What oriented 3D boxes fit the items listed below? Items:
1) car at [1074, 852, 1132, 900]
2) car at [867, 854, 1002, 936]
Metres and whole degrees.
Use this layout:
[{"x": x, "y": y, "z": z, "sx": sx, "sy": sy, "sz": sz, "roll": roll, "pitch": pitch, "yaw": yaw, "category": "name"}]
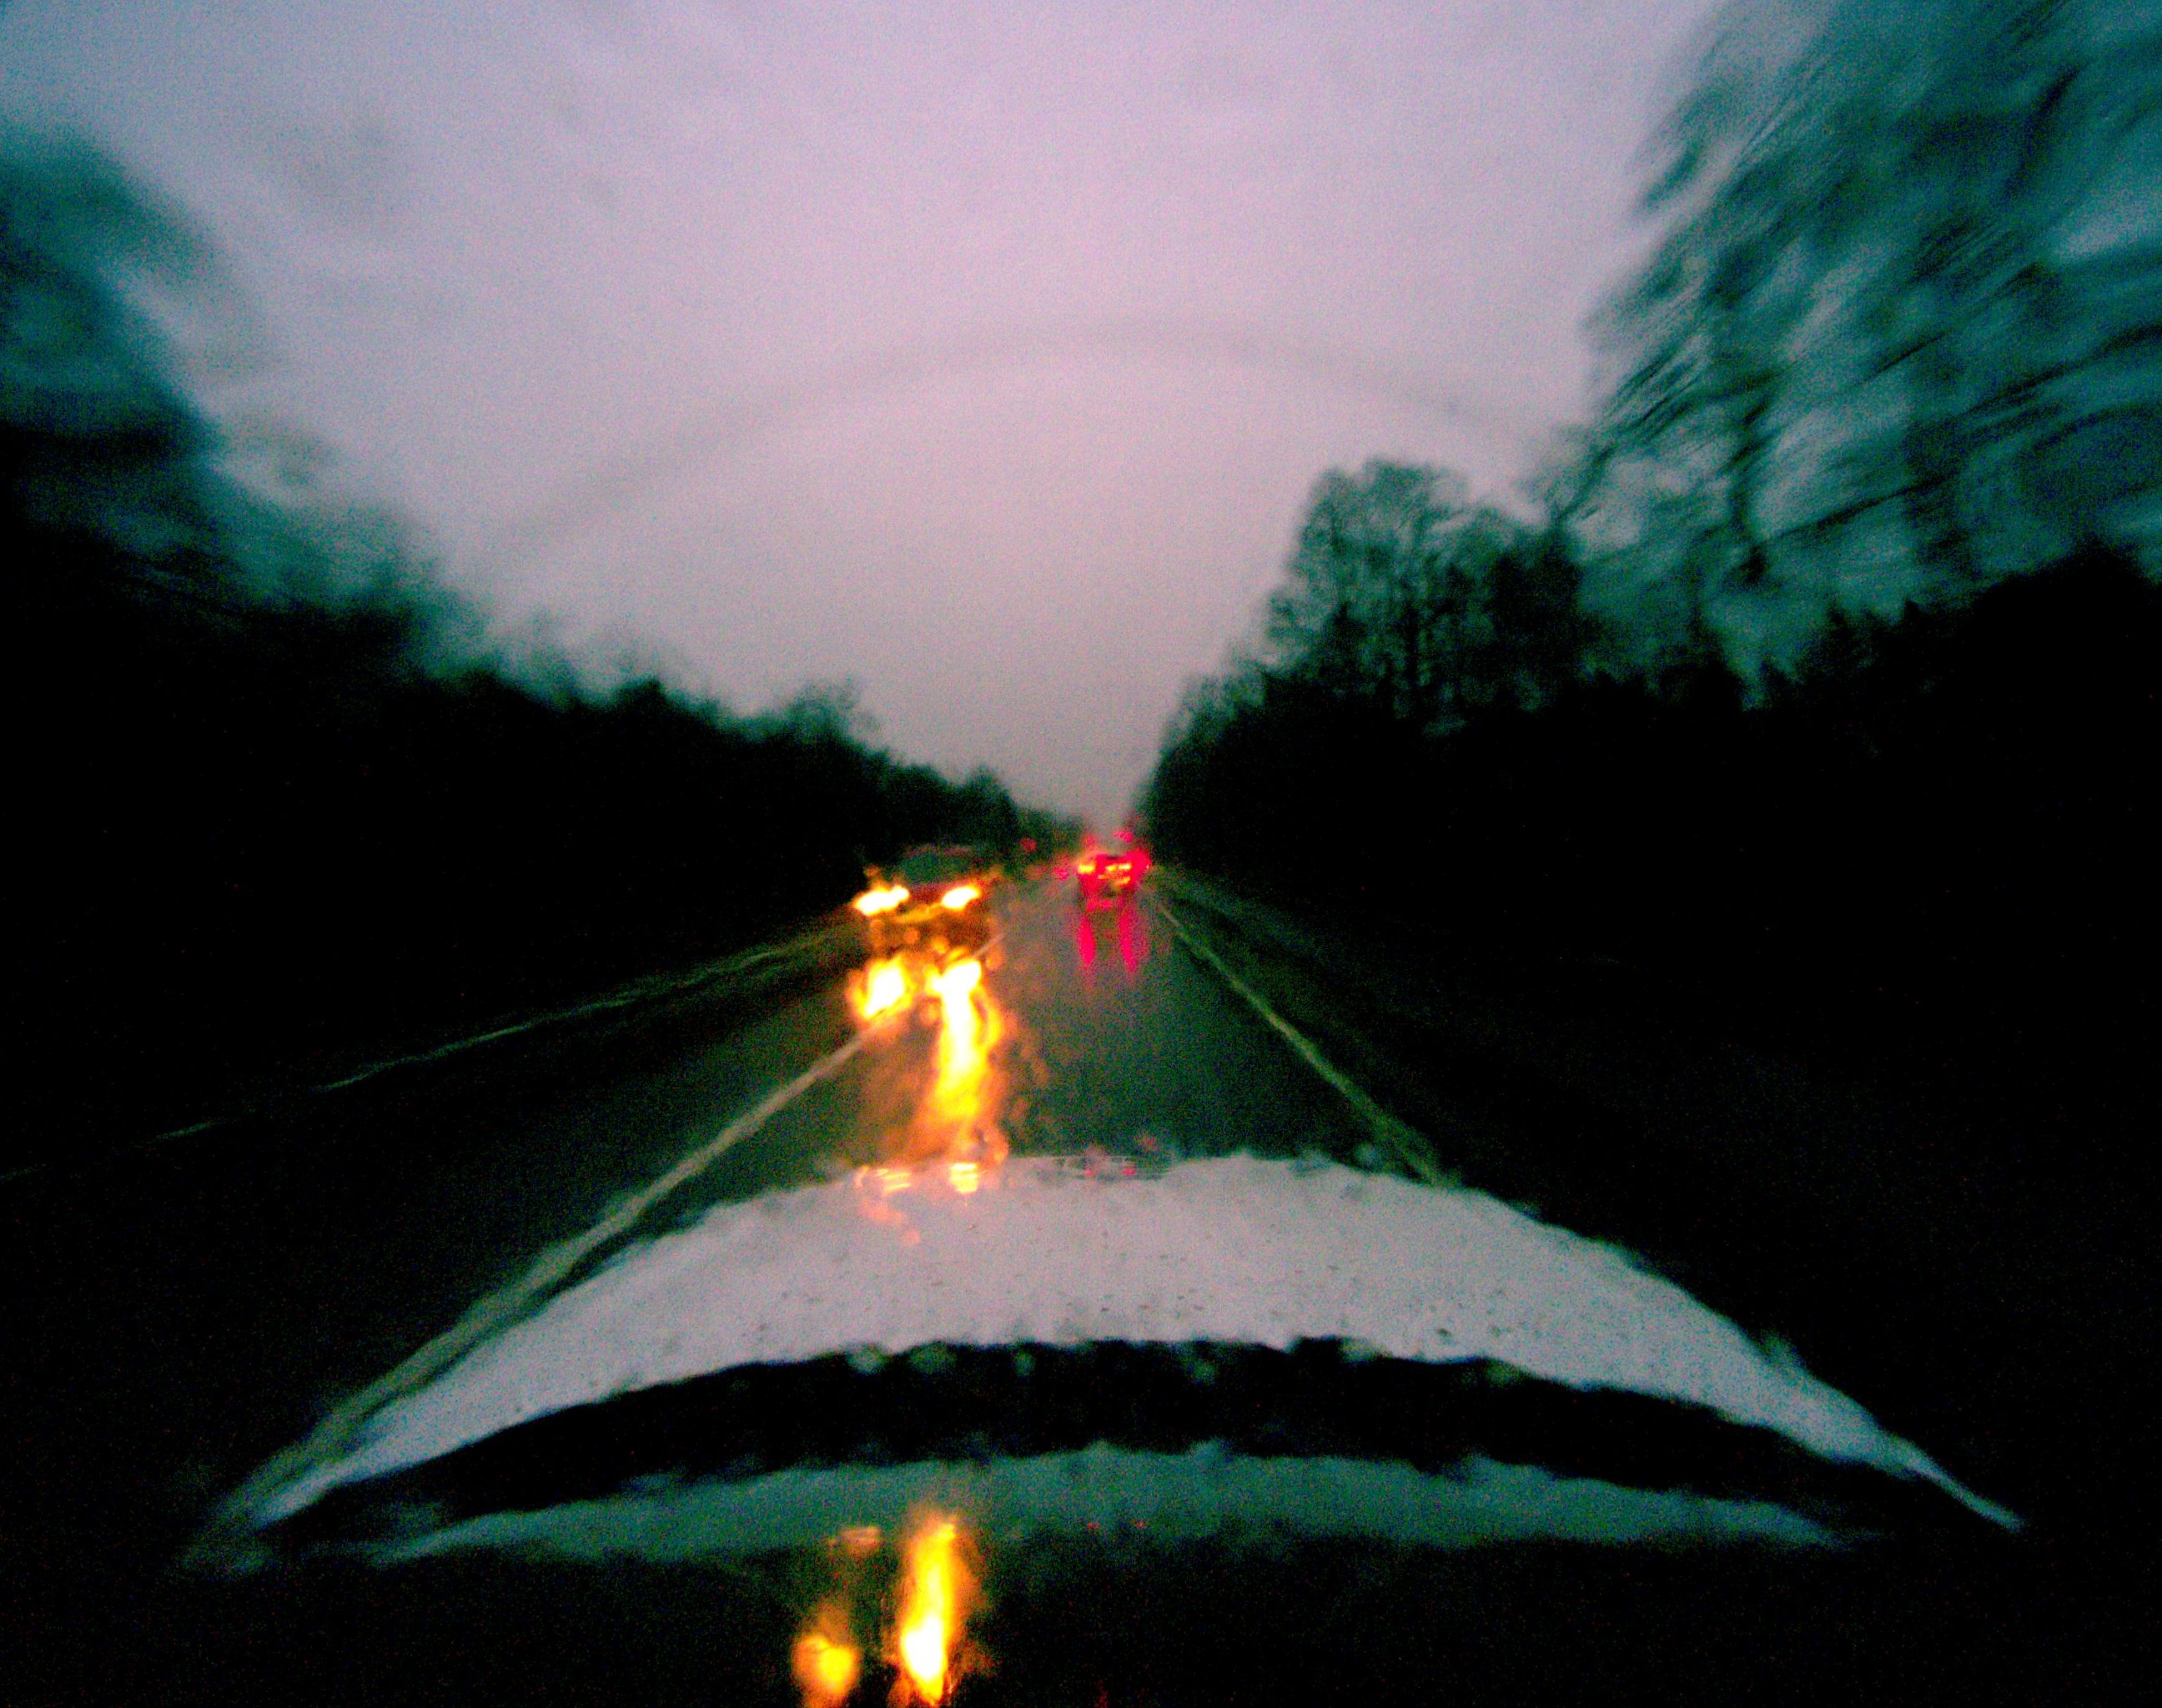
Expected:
[{"x": 0.723, "y": 0.663, "z": 26.232, "sx": 1.672, "sy": 1.389, "sz": 4.100, "roll": -2, "pitch": 0, "yaw": 2, "category": "car"}, {"x": -2.848, "y": 0.747, "z": 16.735, "sx": 1.807, "sy": 1.438, "sz": 4.101, "roll": -2, "pitch": 0, "yaw": 3, "category": "car"}]
